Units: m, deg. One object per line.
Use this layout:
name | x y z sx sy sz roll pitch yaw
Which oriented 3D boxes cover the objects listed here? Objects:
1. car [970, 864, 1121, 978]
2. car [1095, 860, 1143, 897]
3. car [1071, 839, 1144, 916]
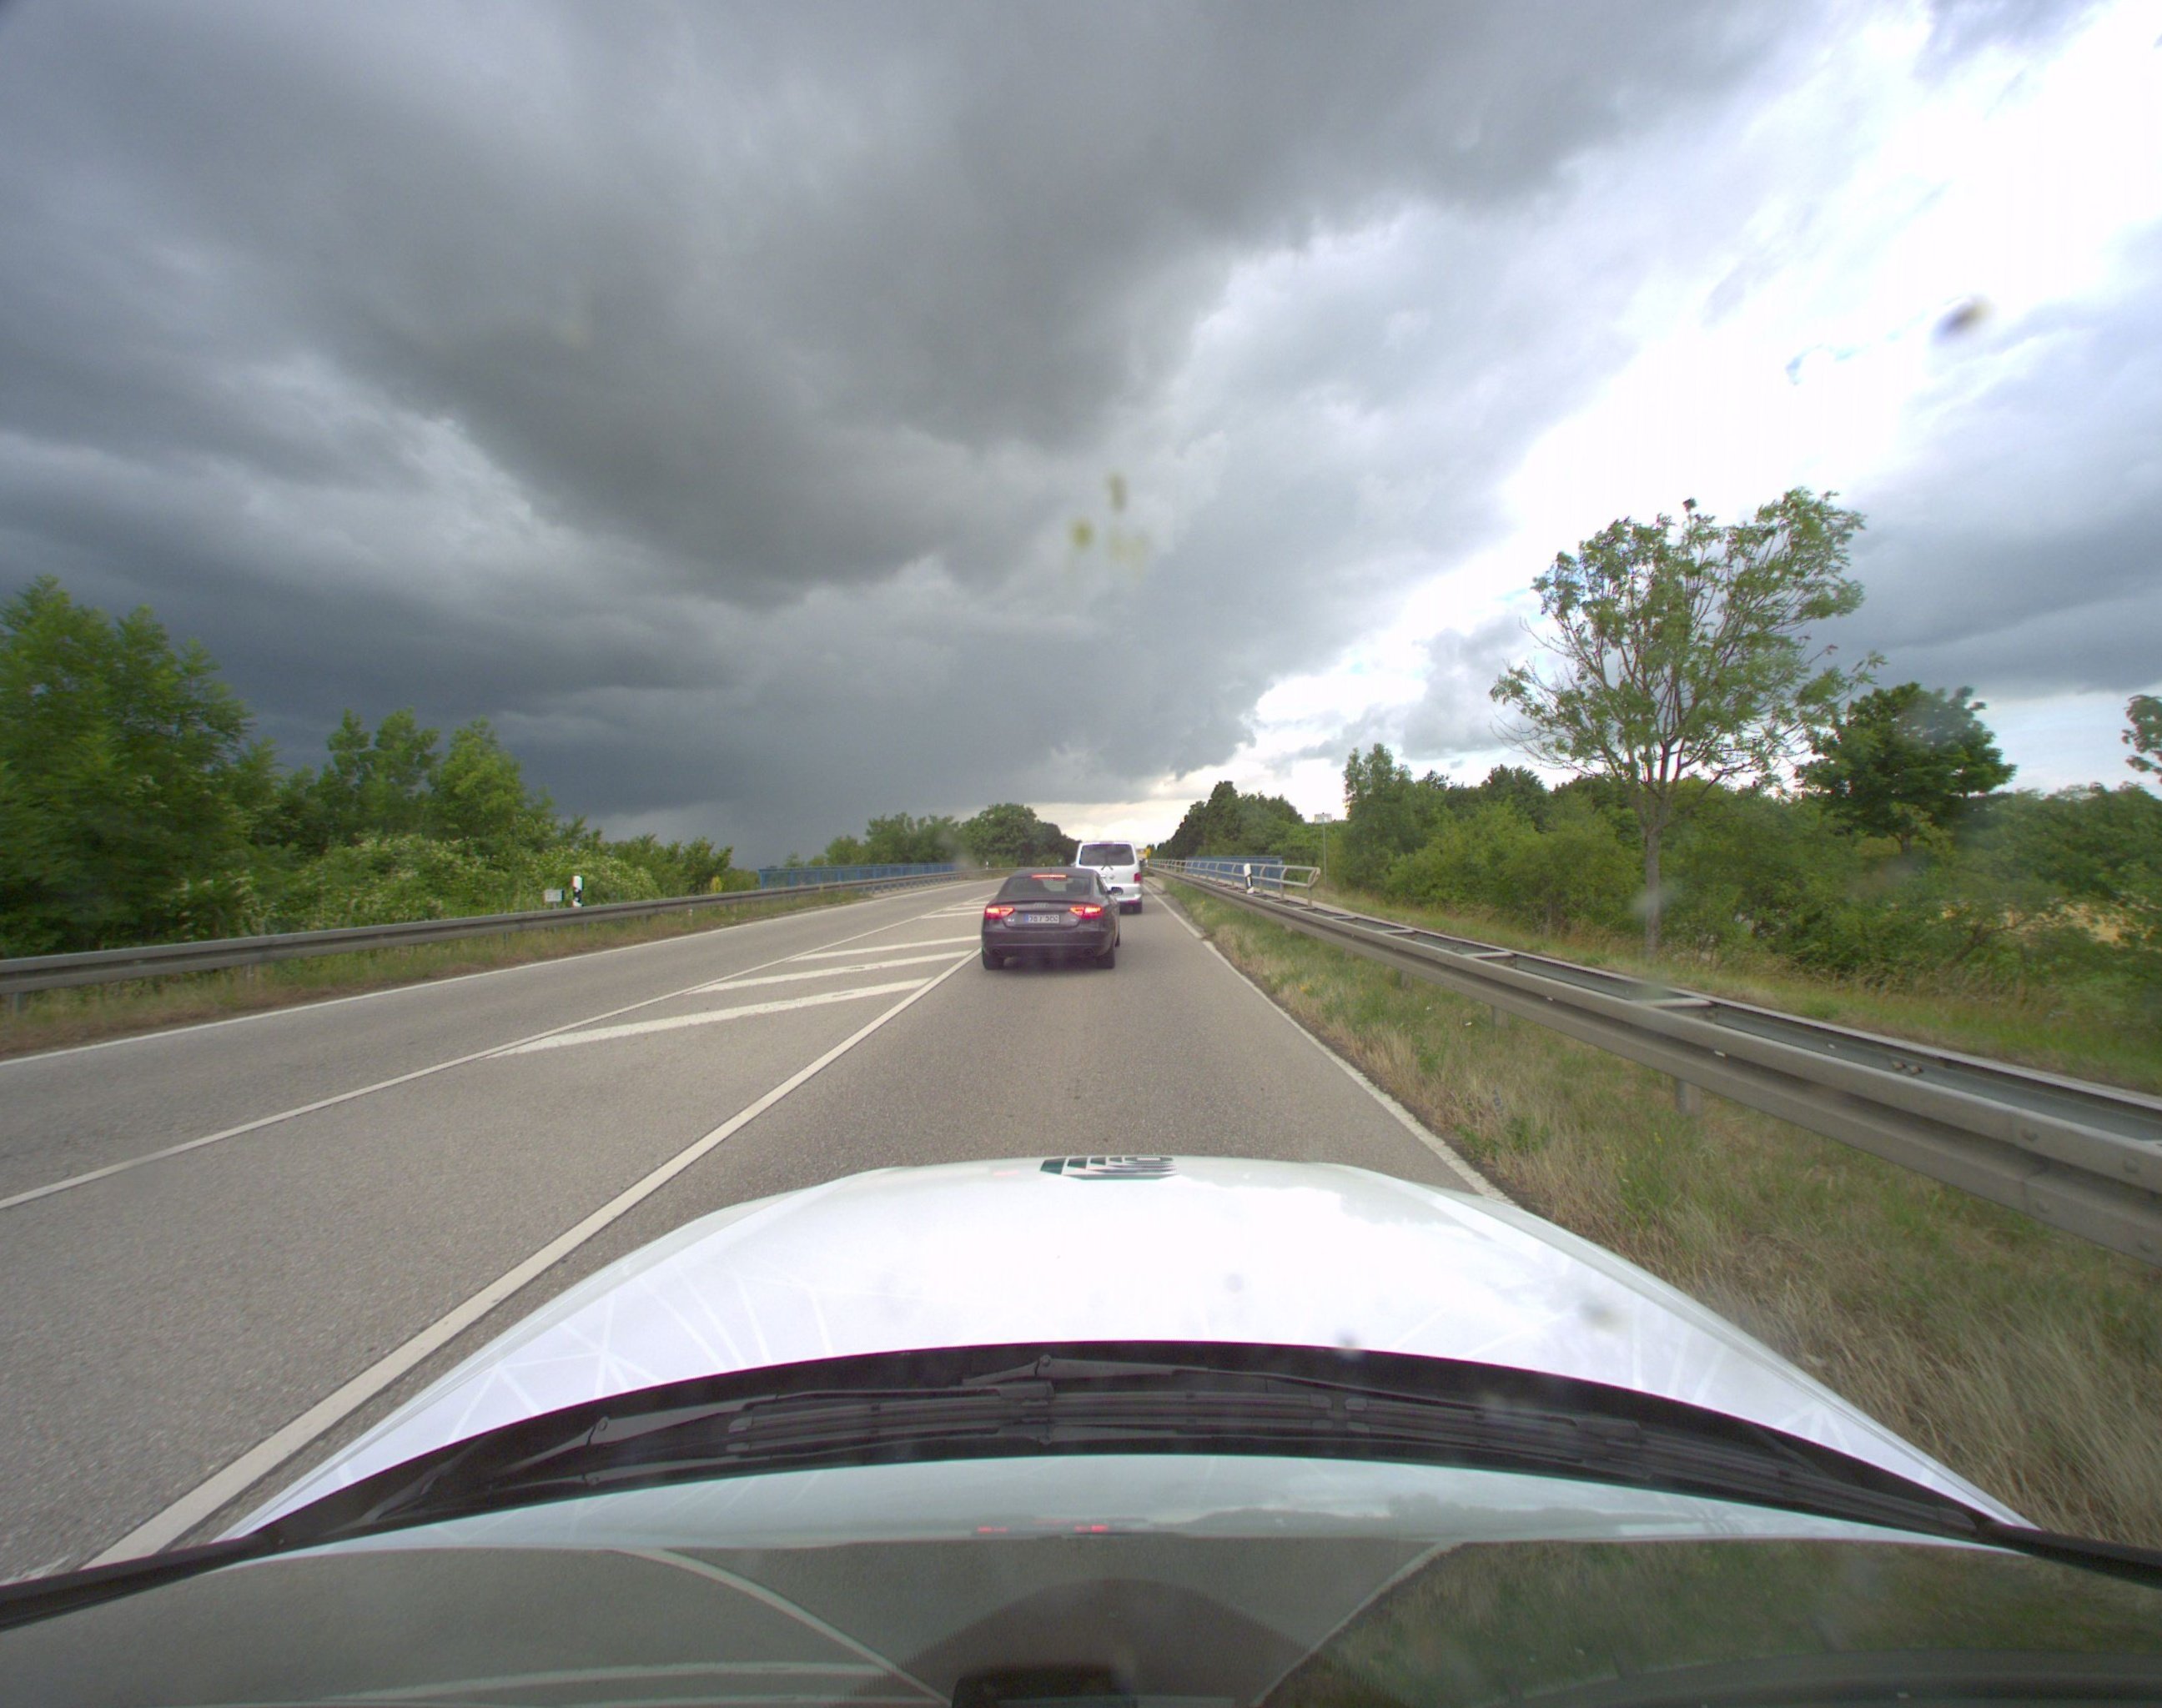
car | -0.357 0.878 12.327 1.814 1.381 4.075 -2 -1 3
car | 1.572 0.955 33.289 1.814 1.381 4.075 -1 -1 3
car | 0.758 0.633 23.036 1.821 1.935 4.002 -2 -1 2
